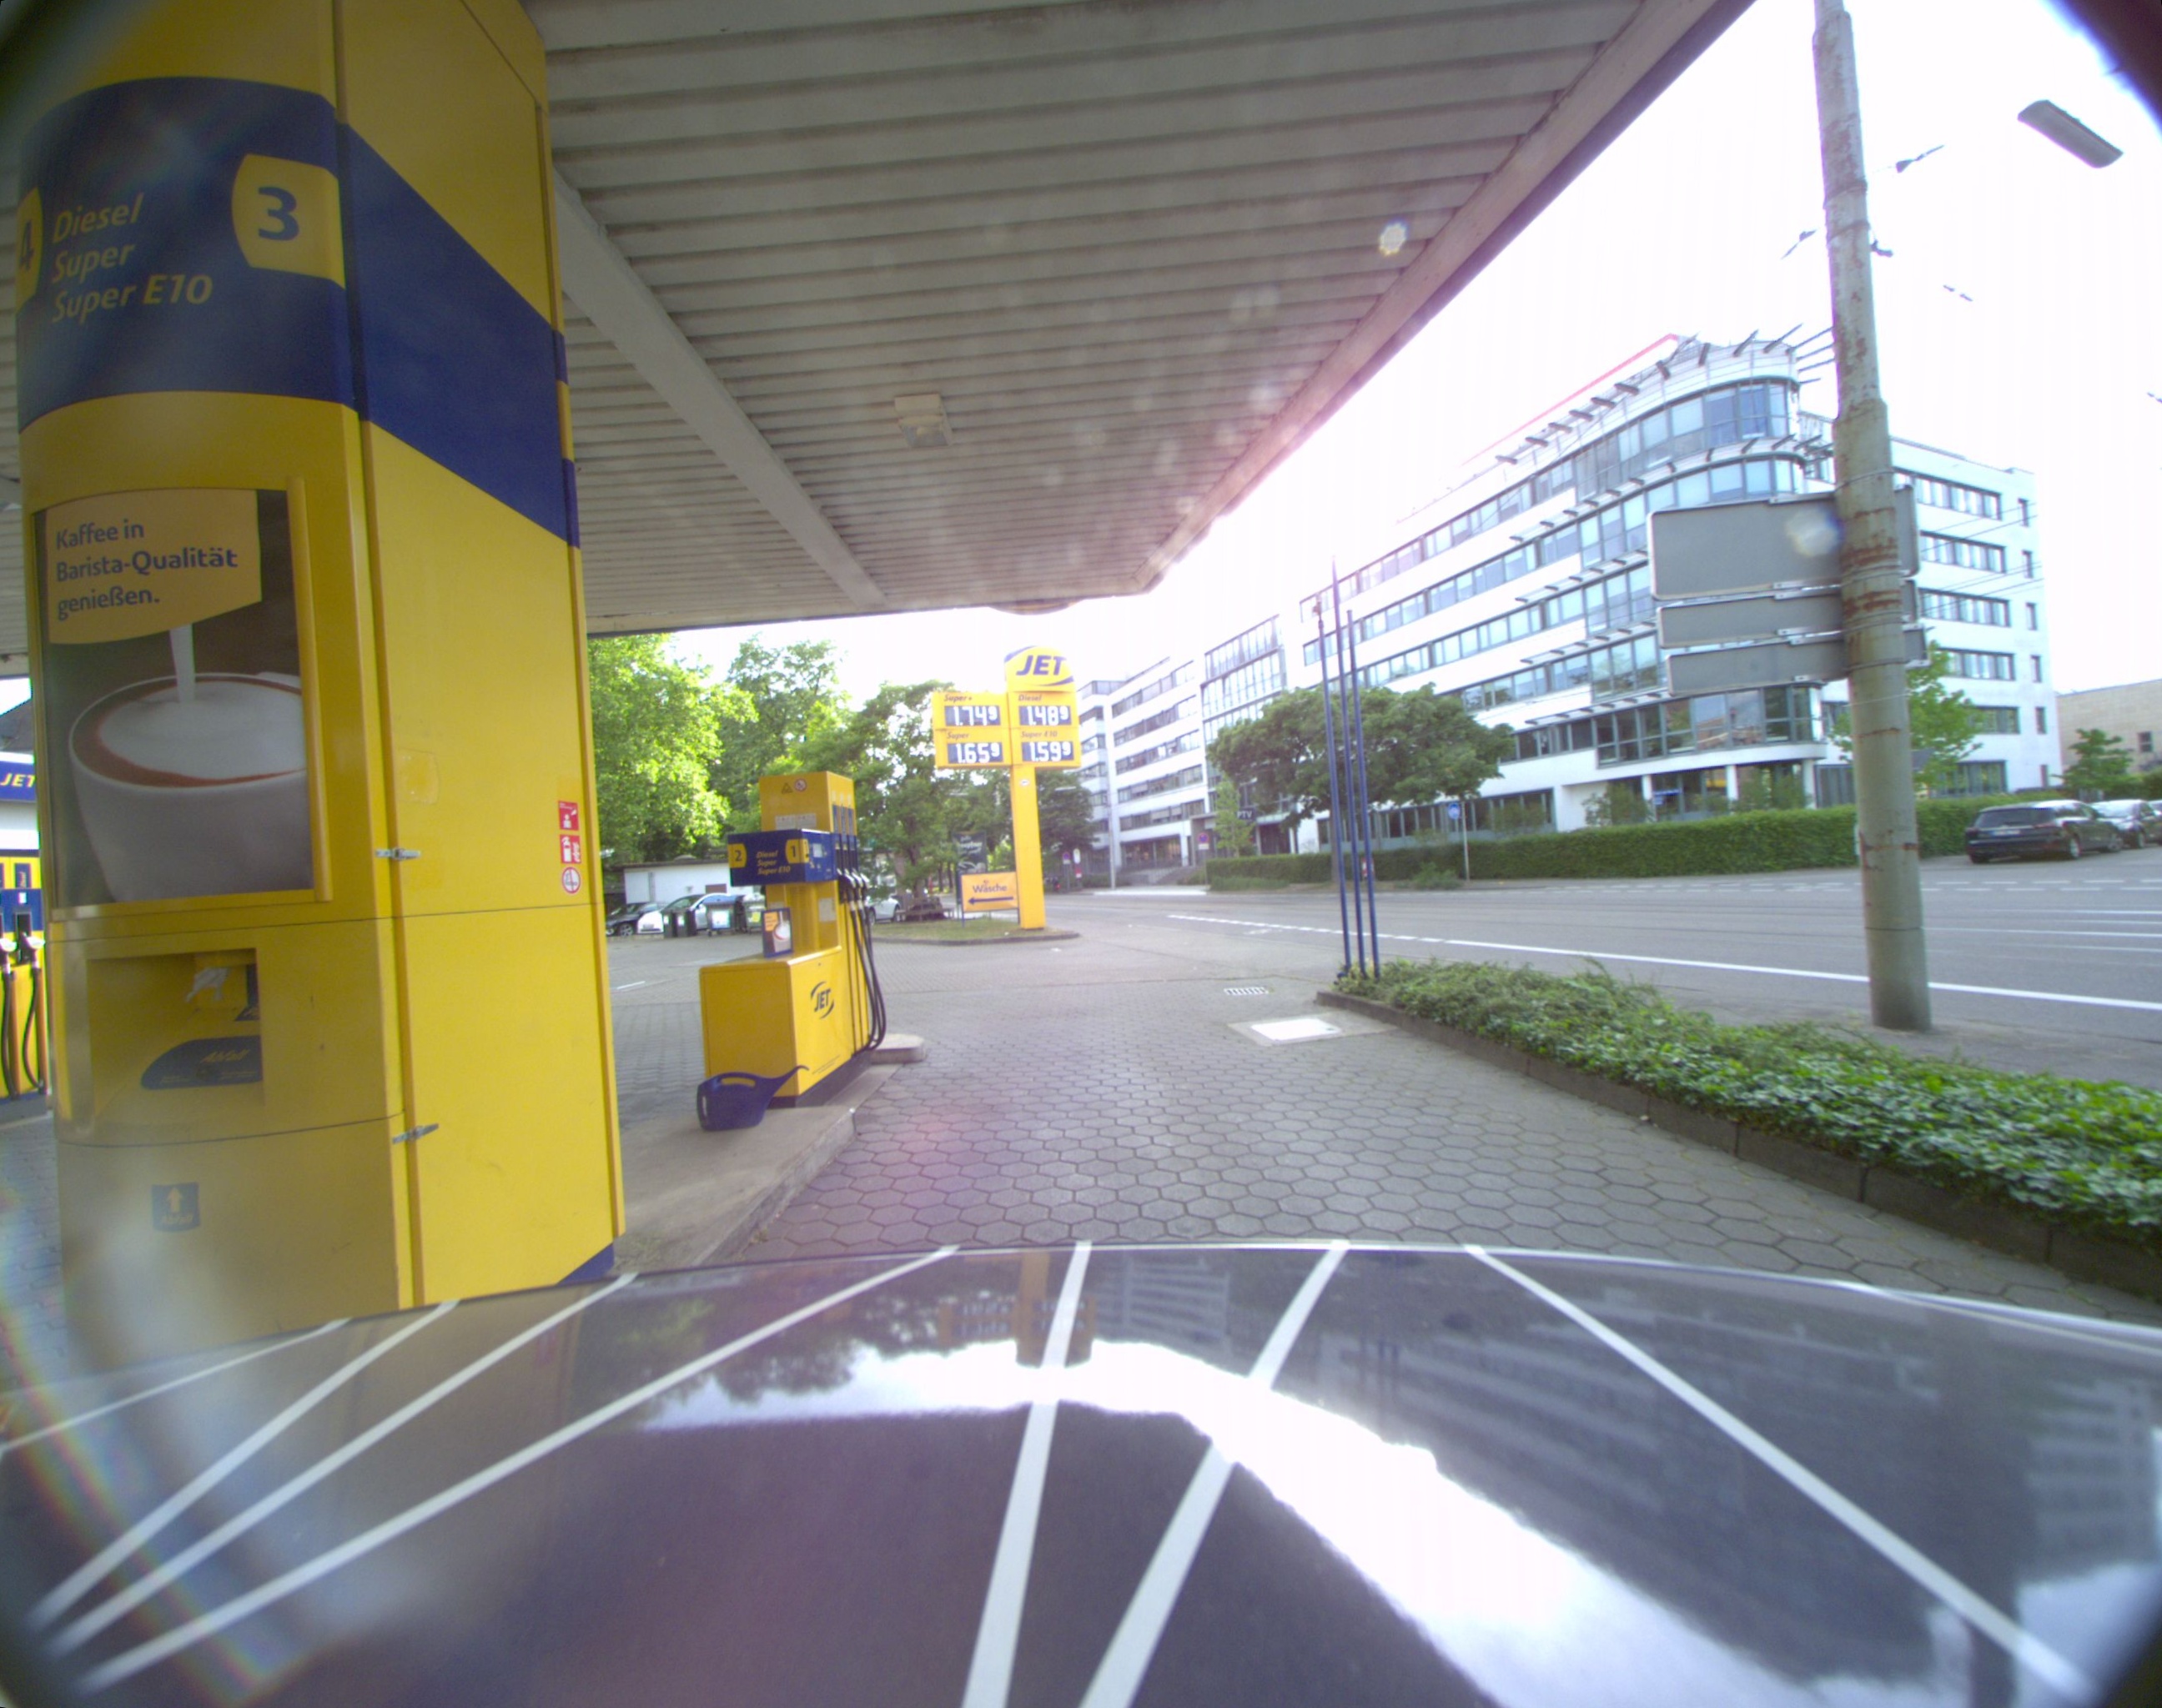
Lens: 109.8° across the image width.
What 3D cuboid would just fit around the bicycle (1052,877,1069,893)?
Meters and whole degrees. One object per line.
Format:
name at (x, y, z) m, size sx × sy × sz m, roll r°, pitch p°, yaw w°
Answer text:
bicycle at (-1.707, 2.551, 62.550) m, size 0.792 × 1.232 × 1.879 m, roll -3°, pitch 0°, yaw -22°

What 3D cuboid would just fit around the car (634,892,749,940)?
car at (-15.384, 2.406, 30.258) m, size 1.823 × 1.575 × 4.200 m, roll -4°, pitch -2°, yaw 10°

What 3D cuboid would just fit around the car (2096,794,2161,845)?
car at (37.110, -1.260, 26.018) m, size 4.201 × 1.568 × 1.820 m, roll -4°, pitch -1°, yaw -24°

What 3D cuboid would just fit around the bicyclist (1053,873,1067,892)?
bicyclist at (-1.741, 2.345, 62.611) m, size 0.792 × 1.443 × 1.174 m, roll -3°, pitch 1°, yaw -22°

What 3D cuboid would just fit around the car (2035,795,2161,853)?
car at (32.581, -0.965, 24.070) m, size 4.201 × 1.568 × 1.820 m, roll -4°, pitch -1°, yaw -24°

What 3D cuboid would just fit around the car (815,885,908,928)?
car at (-8.651, 2.041, 30.382) m, size 1.823 × 1.449 × 4.200 m, roll -4°, pitch -2°, yaw 10°

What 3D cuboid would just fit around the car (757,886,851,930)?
car at (-11.741, 2.258, 32.470) m, size 1.823 × 1.575 × 4.200 m, roll -4°, pitch -2°, yaw 10°

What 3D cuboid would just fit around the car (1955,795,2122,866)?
car at (27.423, -0.675, 21.760) m, size 4.397 × 1.678 × 1.820 m, roll -4°, pitch -1°, yaw -24°

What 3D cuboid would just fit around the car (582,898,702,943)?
car at (-17.528, 2.625, 30.613) m, size 1.823 × 1.426 × 4.200 m, roll -4°, pitch -2°, yaw 10°

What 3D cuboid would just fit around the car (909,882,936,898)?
car at (-17.670, 3.960, 84.448) m, size 1.865 × 1.500 × 4.819 m, roll -5°, pitch 0°, yaw -24°
